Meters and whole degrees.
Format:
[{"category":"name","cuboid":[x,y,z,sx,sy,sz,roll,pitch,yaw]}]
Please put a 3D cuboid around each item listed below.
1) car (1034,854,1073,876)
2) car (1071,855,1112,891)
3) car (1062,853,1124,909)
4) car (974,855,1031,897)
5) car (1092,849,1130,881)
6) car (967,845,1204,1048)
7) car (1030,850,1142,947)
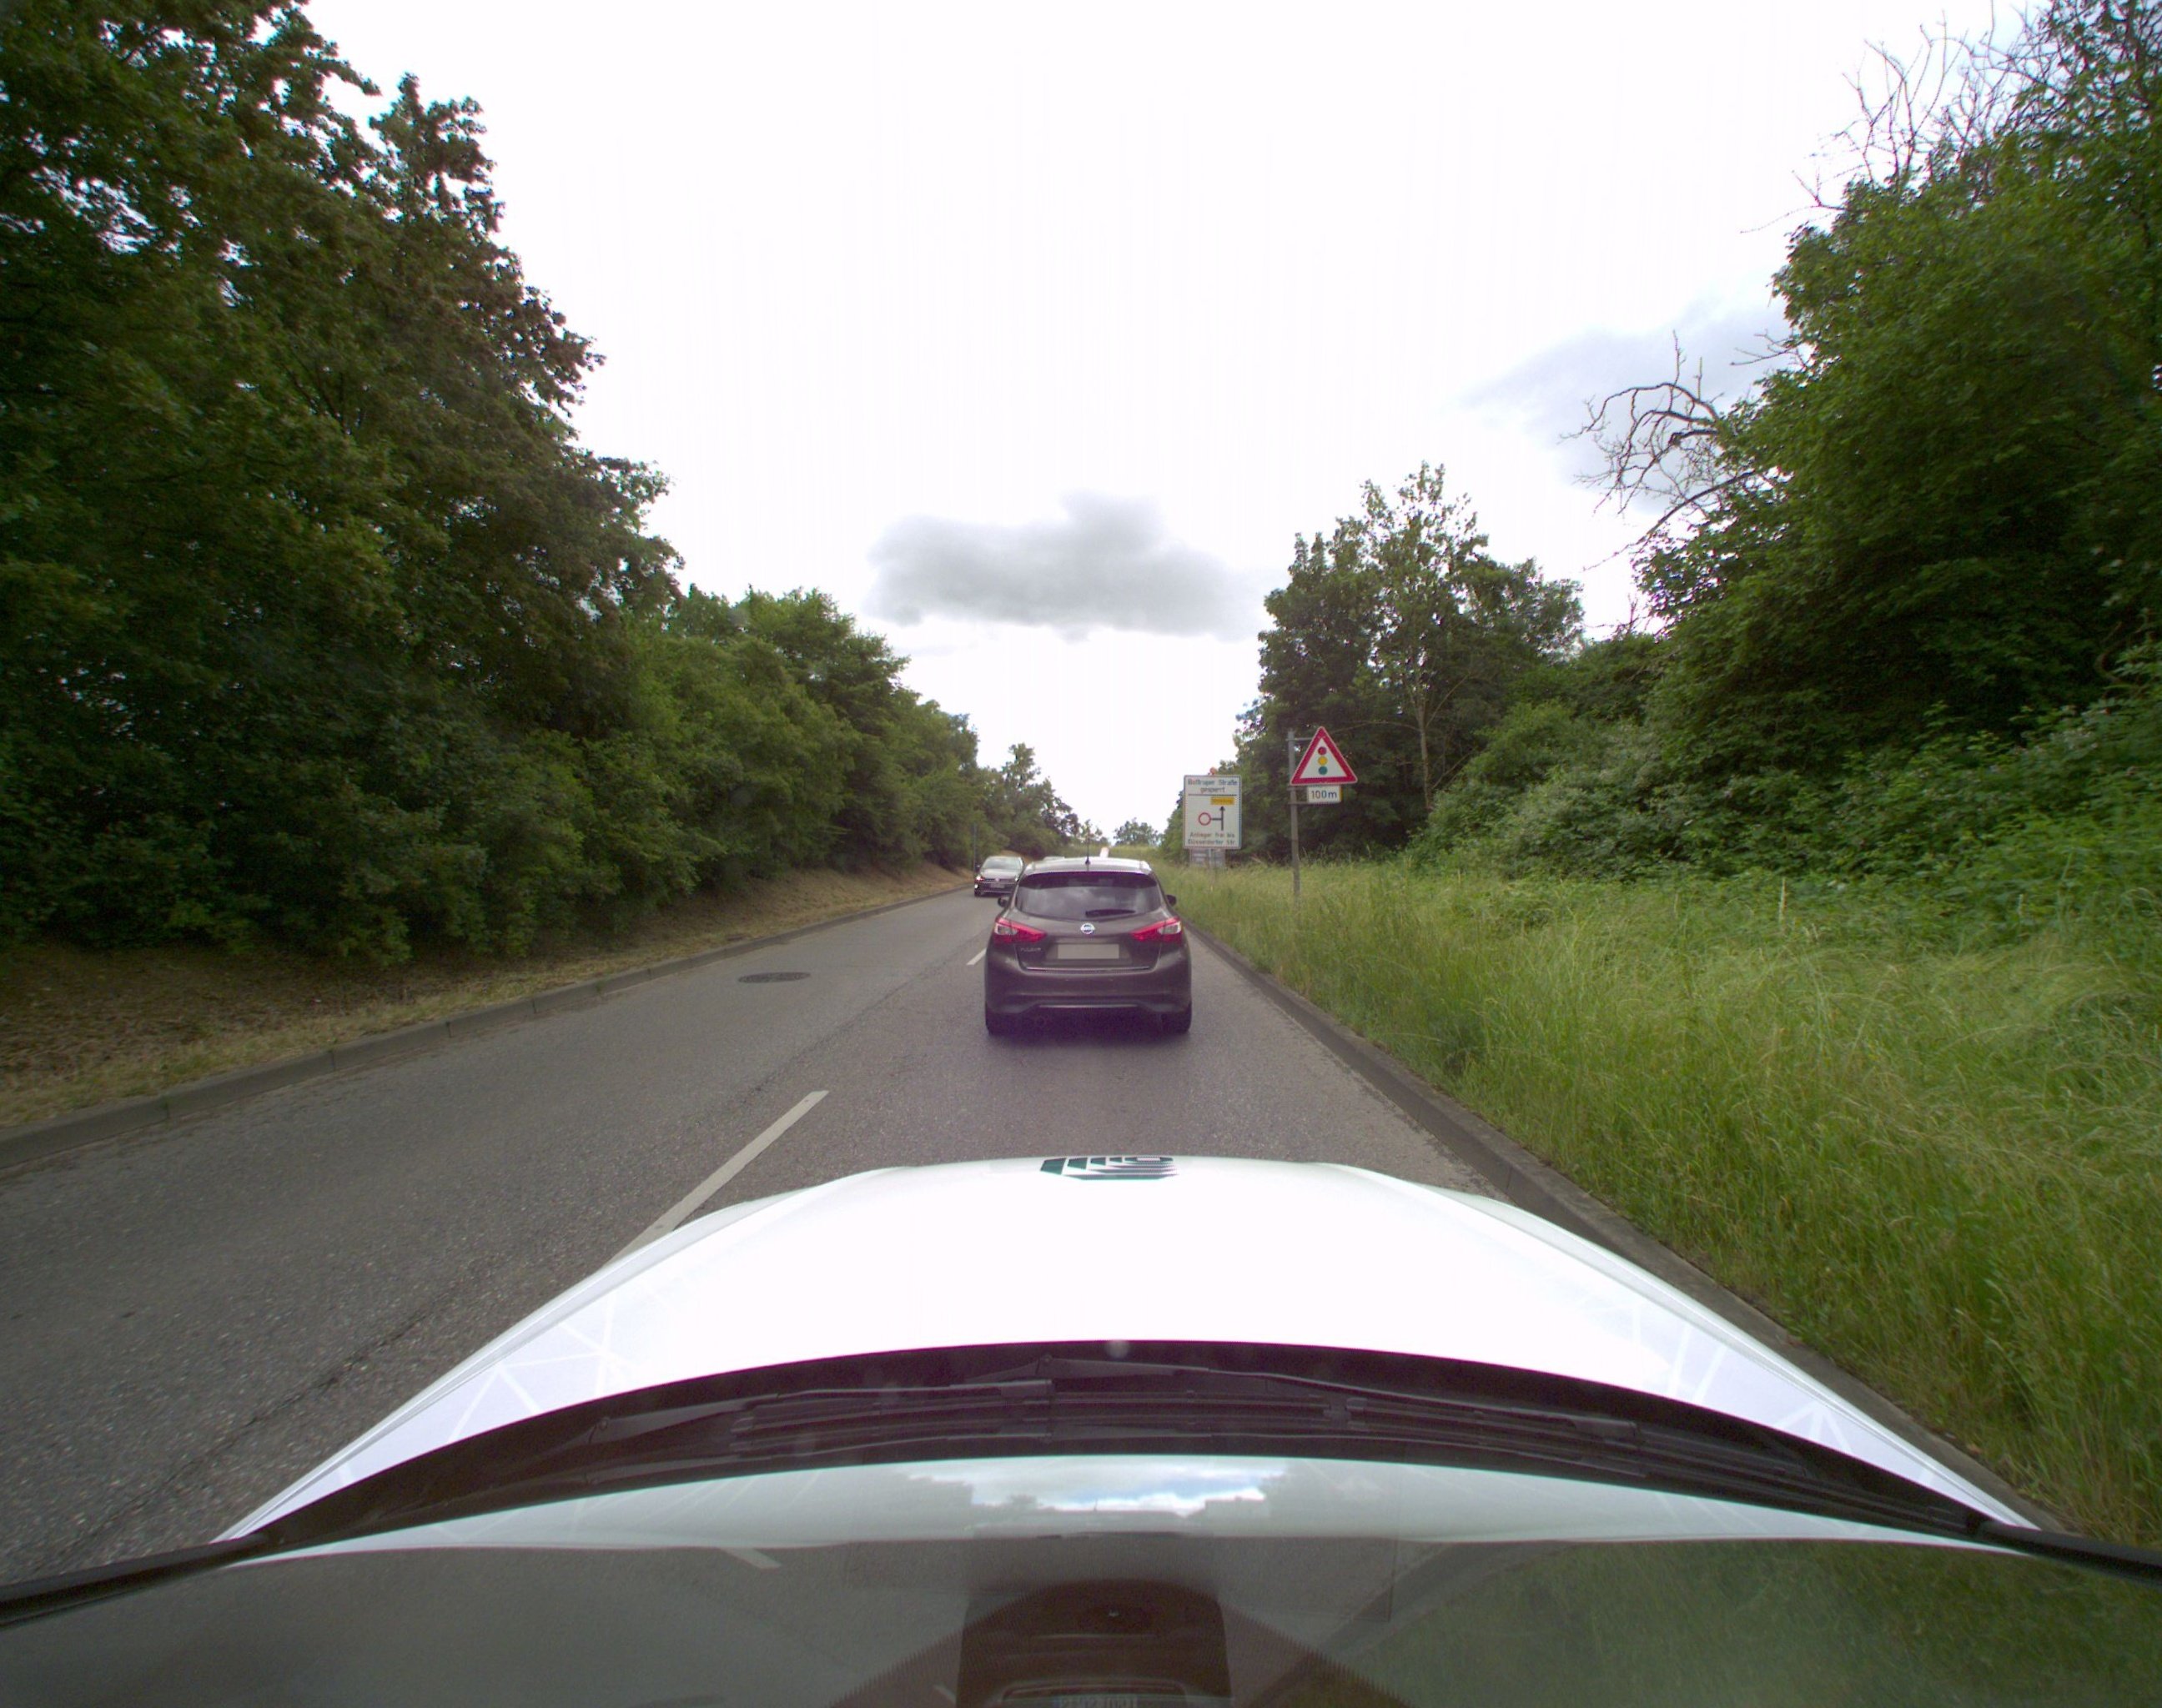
[{"category":"car","cuboid":[-1.882,0.748,56.855,1.630,1.400,3.836,2,0,14]},{"category":"car","cuboid":[0.520,0.831,37.246,1.729,1.556,3.545,-1,0,2]},{"category":"car","cuboid":[0.408,0.758,25.038,1.729,1.556,3.545,-1,0,2]},{"category":"car","cuboid":[-2.808,0.757,29.813,1.636,1.400,3.822,-1,0,1]},{"category":"car","cuboid":[1.959,0.679,52.902,1.723,1.935,3.557,-2,0,14]},{"category":"car","cuboid":[0.044,0.720,8.102,1.824,1.556,3.499,-1,0,0]},{"category":"car","cuboid":[0.151,0.736,15.251,1.823,1.556,3.626,-1,0,2]}]
